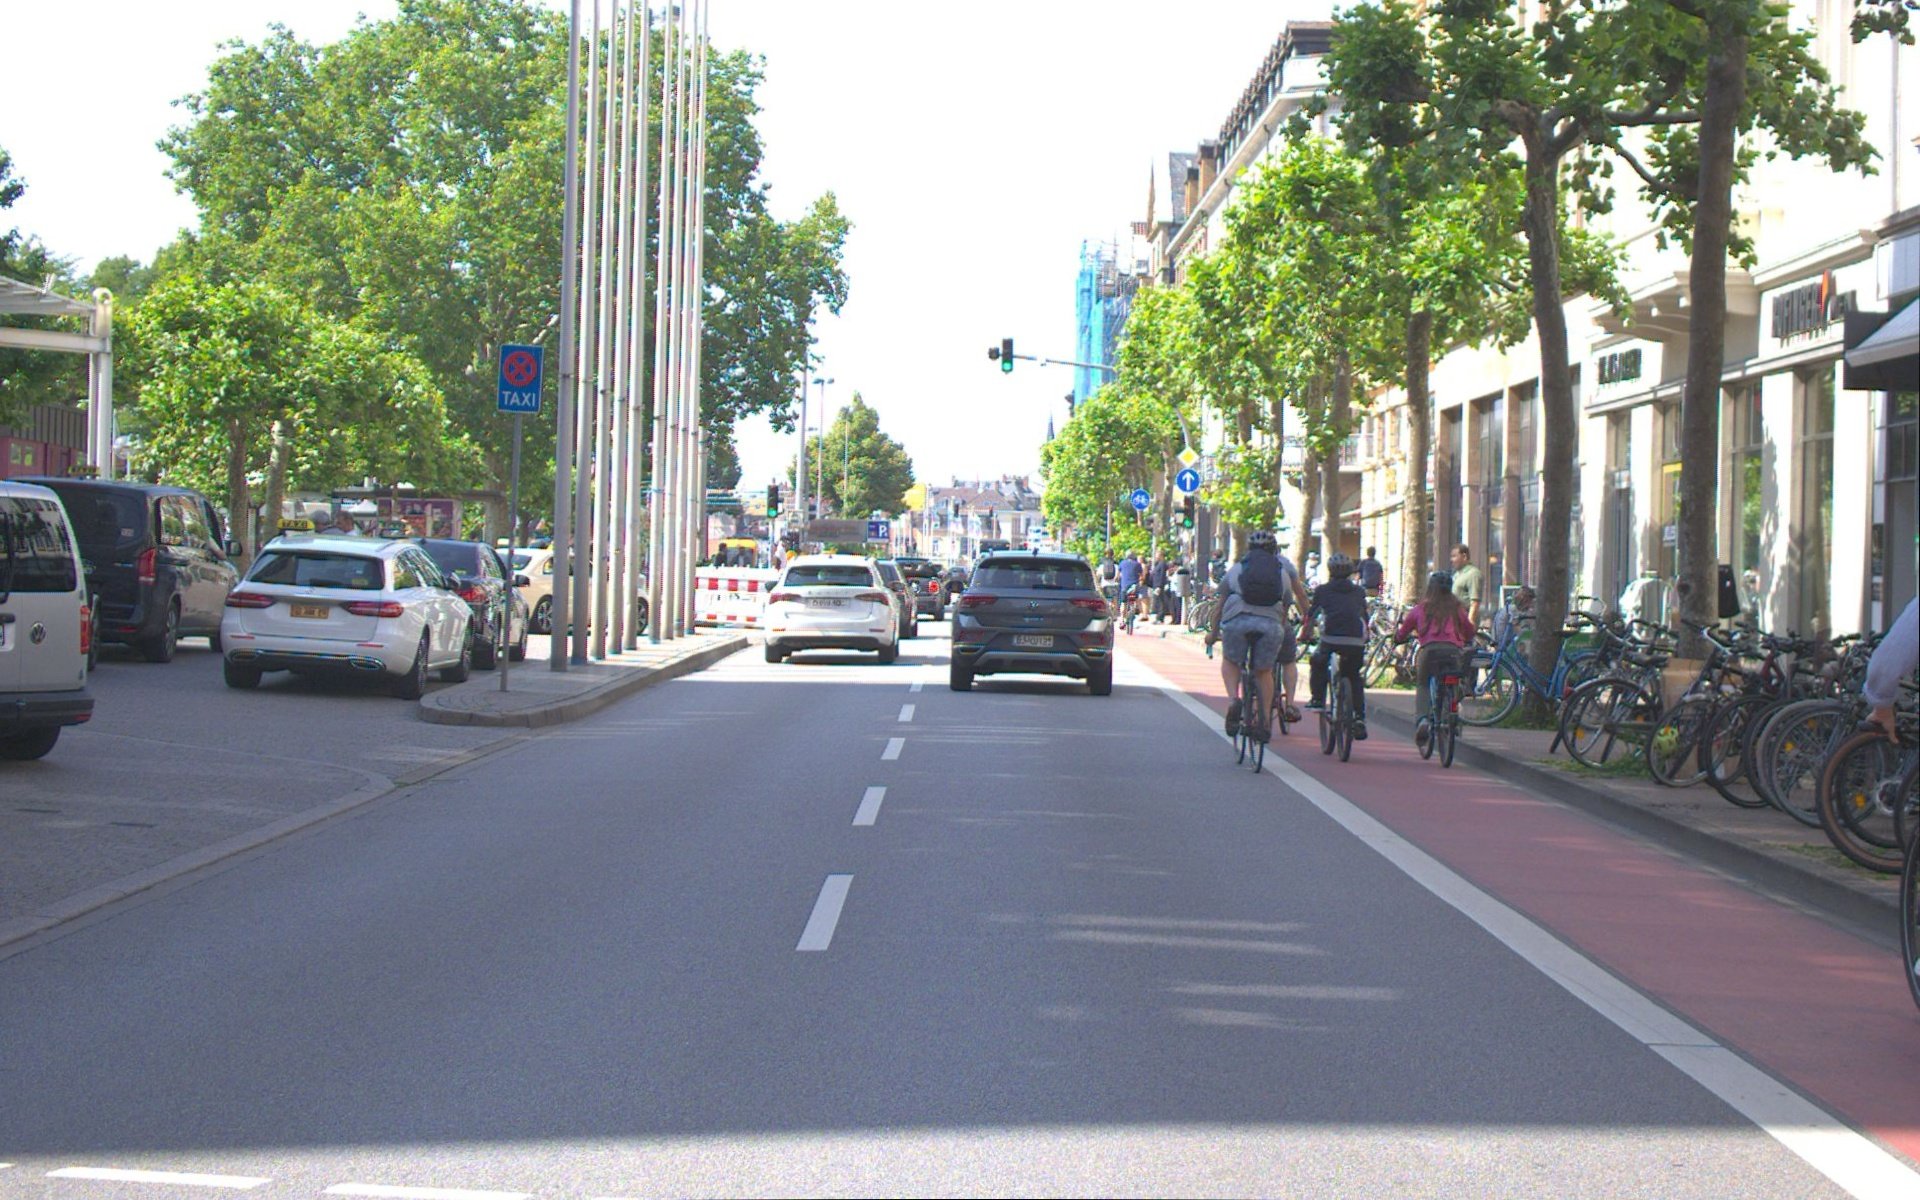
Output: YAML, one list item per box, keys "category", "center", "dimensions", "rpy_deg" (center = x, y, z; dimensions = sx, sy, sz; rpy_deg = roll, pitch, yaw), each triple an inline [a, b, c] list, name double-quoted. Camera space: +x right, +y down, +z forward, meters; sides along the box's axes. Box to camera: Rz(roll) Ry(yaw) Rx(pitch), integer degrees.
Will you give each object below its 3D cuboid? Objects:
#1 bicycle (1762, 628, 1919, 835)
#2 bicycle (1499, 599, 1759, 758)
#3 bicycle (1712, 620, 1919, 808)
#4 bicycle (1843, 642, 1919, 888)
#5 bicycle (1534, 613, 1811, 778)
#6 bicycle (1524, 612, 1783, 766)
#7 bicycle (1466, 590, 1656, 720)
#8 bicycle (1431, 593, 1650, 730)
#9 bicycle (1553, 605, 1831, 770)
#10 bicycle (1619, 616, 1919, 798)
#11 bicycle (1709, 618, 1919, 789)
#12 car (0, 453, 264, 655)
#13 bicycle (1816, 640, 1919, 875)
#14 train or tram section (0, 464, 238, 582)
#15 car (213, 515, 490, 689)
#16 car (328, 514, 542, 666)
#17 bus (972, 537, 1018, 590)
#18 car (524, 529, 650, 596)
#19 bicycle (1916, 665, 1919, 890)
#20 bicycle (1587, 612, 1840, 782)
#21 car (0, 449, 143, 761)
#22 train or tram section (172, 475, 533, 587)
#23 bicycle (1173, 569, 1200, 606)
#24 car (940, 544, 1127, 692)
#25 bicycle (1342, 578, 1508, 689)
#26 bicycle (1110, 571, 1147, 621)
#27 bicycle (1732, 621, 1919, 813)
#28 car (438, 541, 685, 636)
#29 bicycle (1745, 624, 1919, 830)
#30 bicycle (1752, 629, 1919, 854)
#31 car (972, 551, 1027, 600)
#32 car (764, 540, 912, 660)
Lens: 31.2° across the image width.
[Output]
- category: "bicycle"
  center: [5.519, 0.738, 19.251]
  dimensions: [1.987, 1.123, 0.761]
  rpy_deg: [1, 0, 13]
- category: "bicycle"
  center: [5.271, 0.615, 27.126]
  dimensions: [1.839, 1.123, 0.632]
  rpy_deg: [4, 0, -10]
- category: "bicycle"
  center: [5.622, 0.703, 21.224]
  dimensions: [1.840, 1.123, 0.448]
  rpy_deg: [1, 0, 3]
- category: "bicycle"
  center: [5.157, 0.782, 16.141]
  dimensions: [1.840, 1.123, 0.666]
  rpy_deg: [1, 0, 2]
- category: "bicycle"
  center: [5.155, 0.684, 24.915]
  dimensions: [1.840, 1.089, 0.564]
  rpy_deg: [3, 0, 1]
- category: "bicycle"
  center: [5.368, 0.686, 26.627]
  dimensions: [1.839, 1.089, 0.565]
  rpy_deg: [3, 0, -10]
- category: "bicycle"
  center: [5.813, 0.536, 33.240]
  dimensions: [1.774, 1.193, 0.578]
  rpy_deg: [2, 1, -27]
- category: "bicycle"
  center: [5.327, 0.559, 31.580]
  dimensions: [1.839, 1.123, 0.497]
  rpy_deg: [4, 2, -7]
- category: "bicycle"
  center: [5.505, 0.656, 25.883]
  dimensions: [1.839, 1.123, 0.766]
  rpy_deg: [4, -1, -12]
- category: "bicycle"
  center: [5.289, 0.687, 22.529]
  dimensions: [1.843, 1.123, 0.447]
  rpy_deg: [1, -1, 28]
- category: "bicycle"
  center: [5.922, 0.704, 23.499]
  dimensions: [1.840, 1.123, 0.448]
  rpy_deg: [1, -1, -37]
- category: "car"
  center: [-8.996, -0.511, 37.326]
  dimensions: [1.832, 2.007, 4.685]
  rpy_deg: [2, 1, 0]
- category: "bicycle"
  center: [5.185, 0.777, 16.833]
  dimensions: [1.840, 1.123, 0.530]
  rpy_deg: [1, 0, 2]
- category: "train or tram section"
  center: [-29.327, -2.551, 115.473]
  dimensions: [2.618, 3.664, 10.979]
  rpy_deg: [2, 1, 36]
- category: "car"
  center: [-5.893, -0.037, 33.825]
  dimensions: [1.799, 1.518, 4.739]
  rpy_deg: [3, 1, 0]
- category: "car"
  center: [-5.978, -0.147, 39.623]
  dimensions: [1.761, 1.594, 4.710]
  rpy_deg: [2, 1, -1]
- category: "bus"
  center: [2.453, -2.571, 246.425]
  dimensions: [2.995, 3.582, 11.745]
  rpy_deg: [2, 0, 0]
- category: "car"
  center: [-11.612, -1.162, 107.251]
  dimensions: [1.861, 1.948, 4.755]
  rpy_deg: [2, 0, 21]
- category: "bicycle"
  center: [5.280, 0.775, 15.327]
  dimensions: [1.840, 1.123, 0.666]
  rpy_deg: [1, 0, 2]
- category: "bicycle"
  center: [5.175, 0.660, 23.559]
  dimensions: [1.840, 1.123, 0.594]
  rpy_deg: [1, -1, -35]
- category: "car"
  center: [-7.576, -0.053, 22.339]
  dimensions: [4.441, 1.903, 2.005]
  rpy_deg: [3, 2, 37]
- category: "train or tram section"
  center: [-21.952, -2.425, 125.835]
  dimensions: [2.618, 3.664, 15.515]
  rpy_deg: [2, 1, 35]
- category: "bicycle"
  center: [6.937, -0.396, 105.101]
  dimensions: [0.400, 1.110, 1.423]
  rpy_deg: [1, 1, 21]
- category: "car"
  center: [0.770, 0.163, 38.568]
  dimensions: [1.845, 1.554, 4.000]
  rpy_deg: [1, 1, -2]
- category: "bicycle"
  center: [5.356, 0.380, 39.605]
  dimensions: [1.840, 1.193, 0.673]
  rpy_deg: [2, 0, 8]
- category: "bicycle"
  center: [3.535, -0.088, 72.310]
  dimensions: [0.647, 0.994, 2.031]
  rpy_deg: [1, 1, 0]
- category: "bicycle"
  center: [5.639, 0.709, 20.764]
  dimensions: [1.840, 1.123, 0.448]
  rpy_deg: [1, 0, 3]
- category: "car"
  center: [-6.963, -0.227, 60.609]
  dimensions: [1.894, 1.536, 4.854]
  rpy_deg: [3, 2, 27]
- category: "bicycle"
  center: [5.535, 0.754, 19.965]
  dimensions: [1.841, 1.123, 0.530]
  rpy_deg: [3, 0, 13]
- category: "bicycle"
  center: [5.130, 0.741, 17.890]
  dimensions: [1.840, 1.123, 0.679]
  rpy_deg: [2, 0, 2]
- category: "car"
  center: [1.427, -0.916, 125.696]
  dimensions: [1.845, 1.662, 4.000]
  rpy_deg: [3, 1, 0]
- category: "car"
  center: [-1.637, -0.033, 47.400]
  dimensions: [1.845, 1.554, 4.000]
  rpy_deg: [1, 1, 1]
